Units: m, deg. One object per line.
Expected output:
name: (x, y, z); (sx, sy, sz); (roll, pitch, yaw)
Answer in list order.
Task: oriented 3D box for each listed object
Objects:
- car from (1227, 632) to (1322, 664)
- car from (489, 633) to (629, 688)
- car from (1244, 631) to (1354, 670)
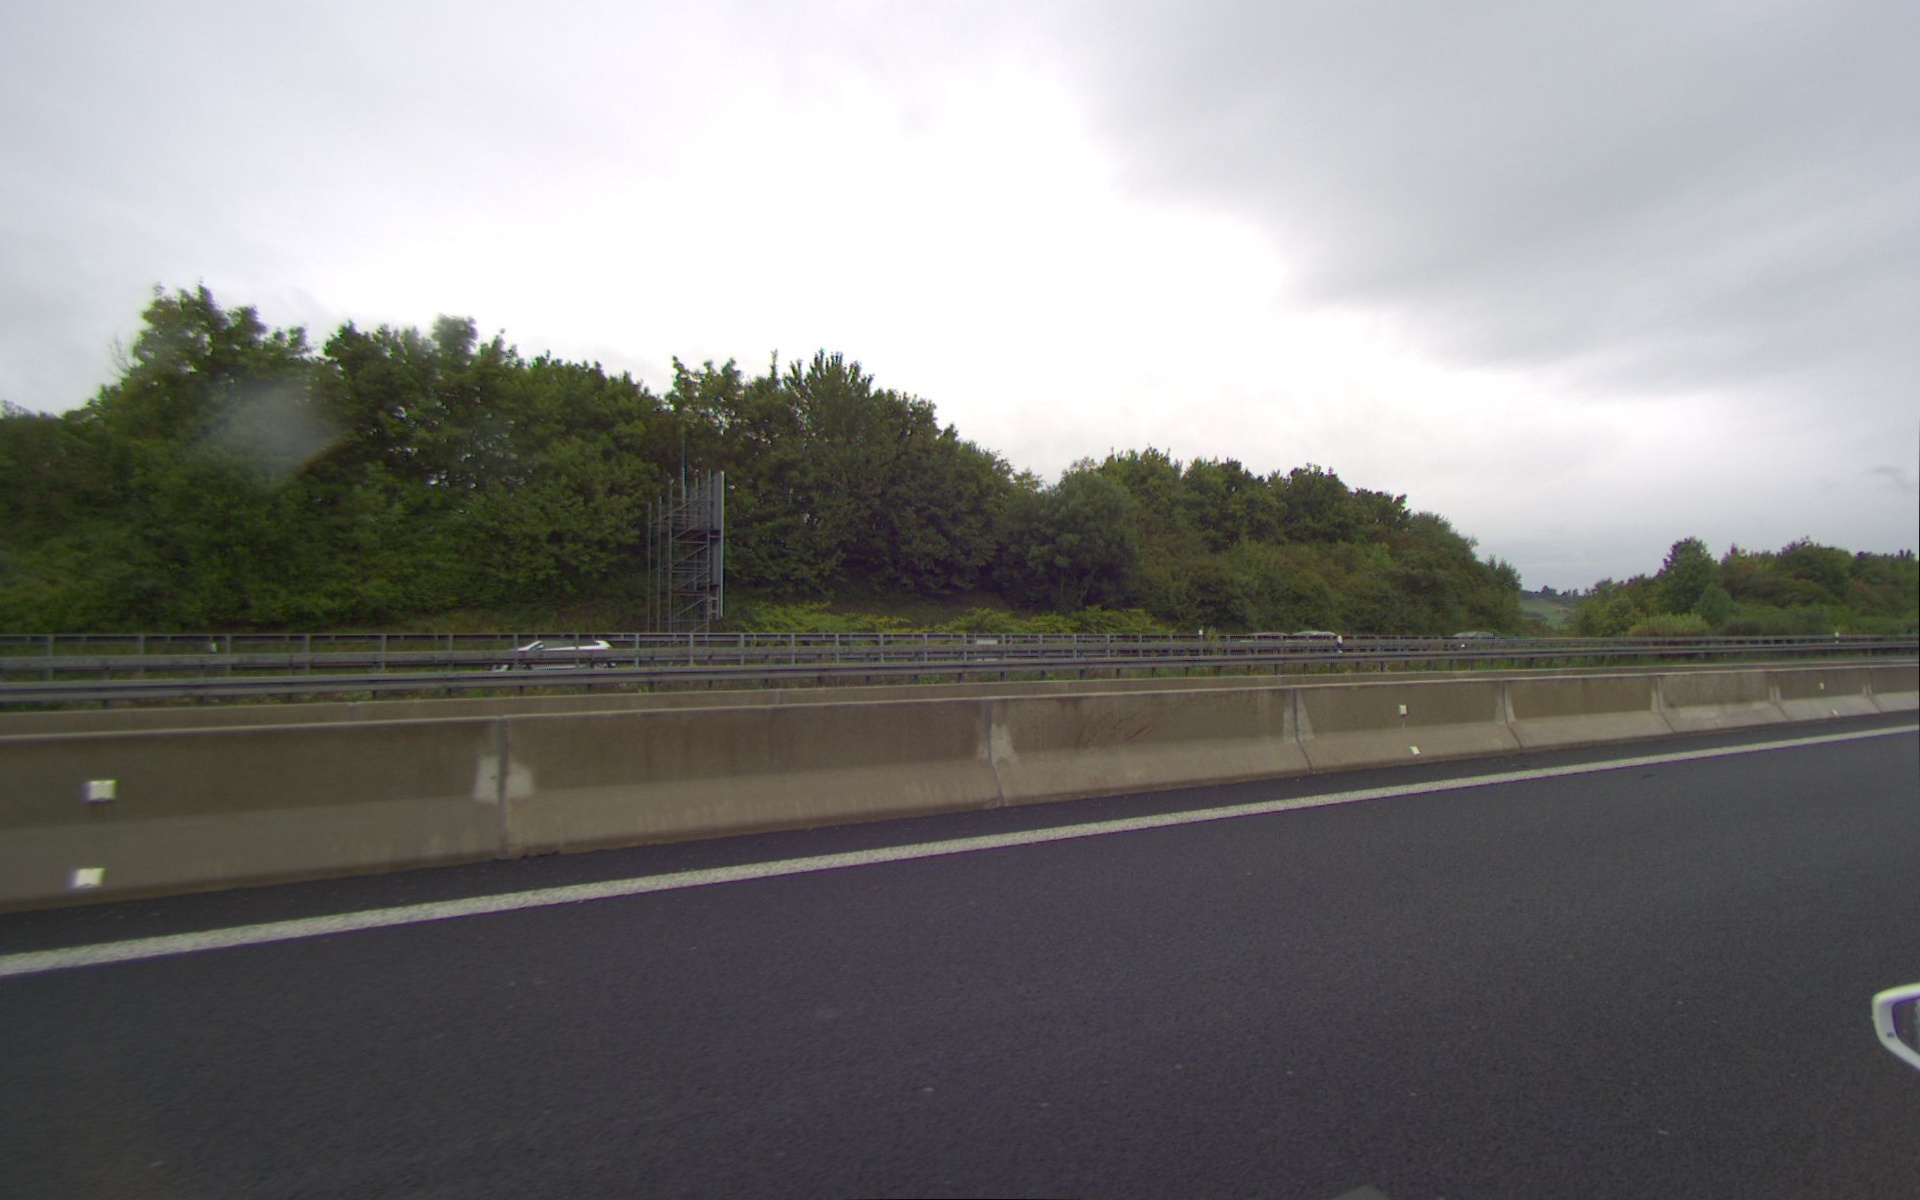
car: (15.602, 2.382, 49.737); (4.722, 1.475, 1.809); (2, -1, -31)
car: (-13.179, 1.960, 33.055); (4.014, 1.653, 1.809); (2, -1, -32)
car: (13.615, 2.011, 40.279); (4.217, 1.475, 1.811); (2, -1, -29)
